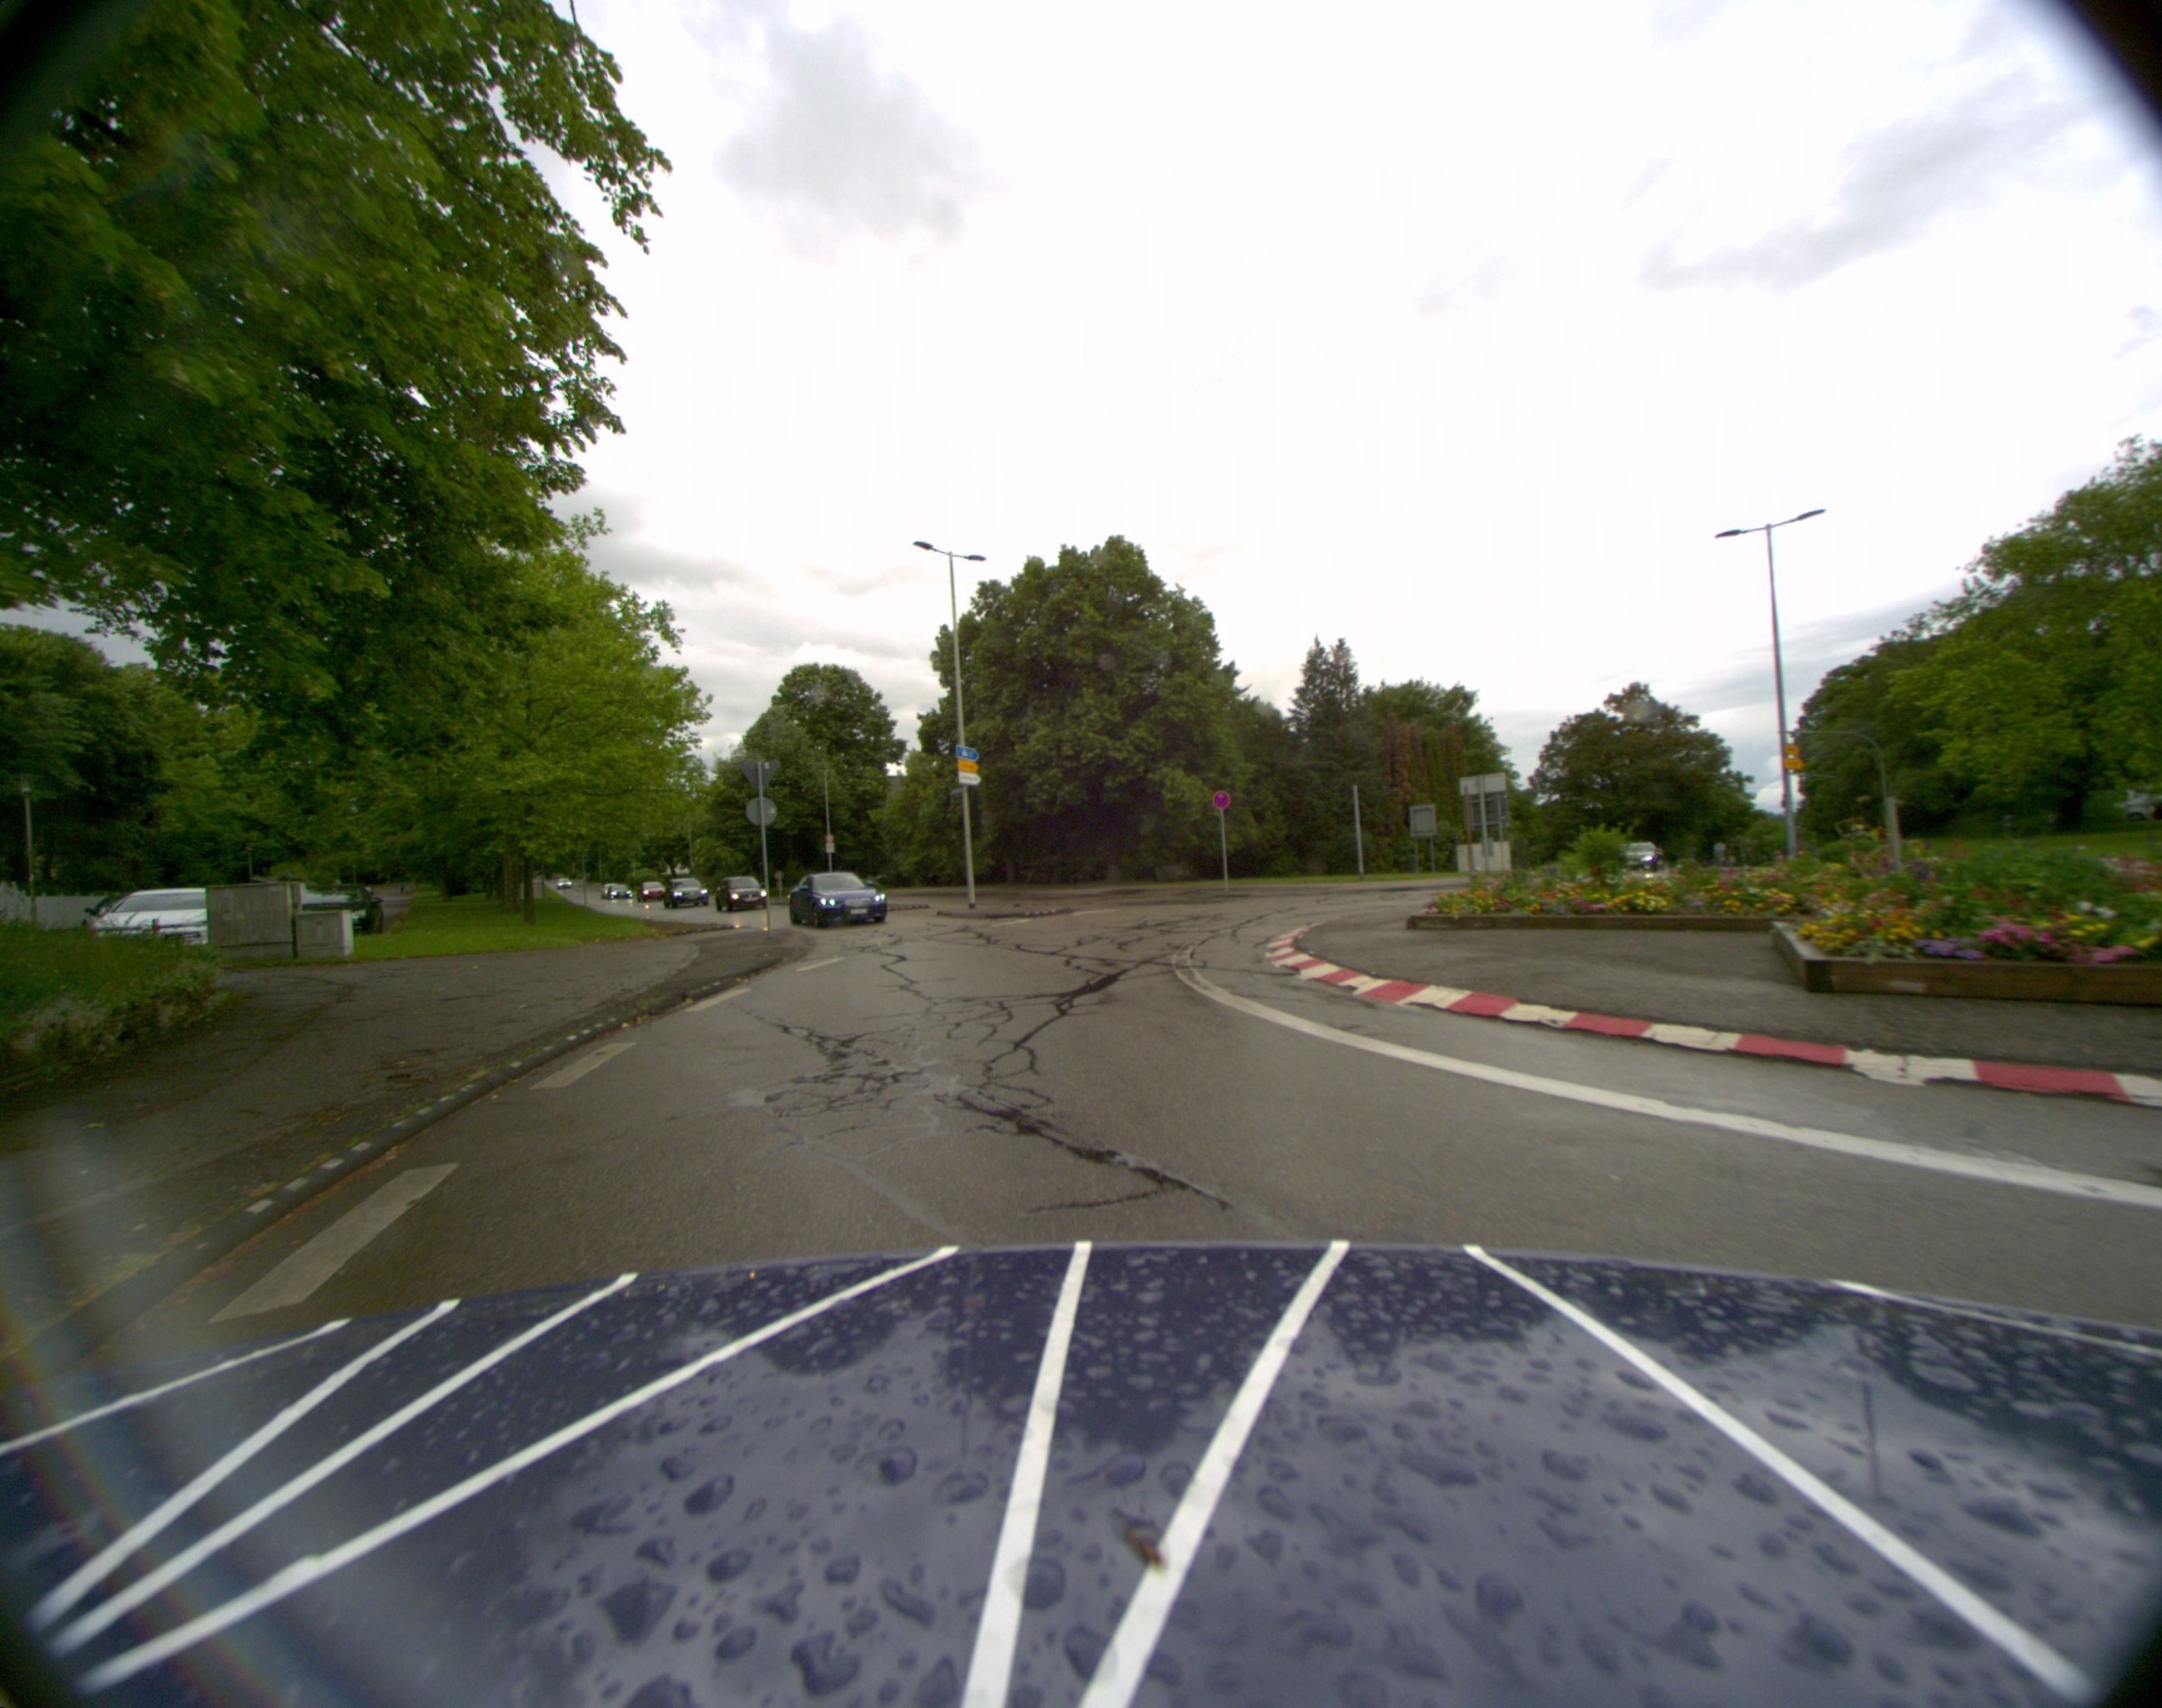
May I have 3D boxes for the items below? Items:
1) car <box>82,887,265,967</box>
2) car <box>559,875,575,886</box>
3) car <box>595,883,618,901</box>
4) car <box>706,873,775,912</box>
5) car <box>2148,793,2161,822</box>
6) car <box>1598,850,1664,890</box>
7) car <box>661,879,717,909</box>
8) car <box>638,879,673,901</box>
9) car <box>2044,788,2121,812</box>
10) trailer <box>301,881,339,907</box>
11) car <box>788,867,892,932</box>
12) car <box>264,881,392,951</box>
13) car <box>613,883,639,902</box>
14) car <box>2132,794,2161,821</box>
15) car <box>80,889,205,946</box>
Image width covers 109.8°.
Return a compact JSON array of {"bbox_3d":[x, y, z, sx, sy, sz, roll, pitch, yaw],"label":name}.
[{"bbox_3d":[-20.668,1.562,17.535,1.855,1.462,4.414,-2,0,-39],"label":"car"},{"bbox_3d":[-83.114,4.272,122.877,1.830,1.471,4.057,-5,2,-33],"label":"car"},{"bbox_3d":[-48.755,3.883,78.113,1.829,1.471,4.058,-5,2,-30],"label":"car"},{"bbox_3d":[-15.346,1.678,34.141,1.830,1.471,4.057,-5,2,-38],"label":"car"},{"bbox_3d":[65.239,-2.823,44.190,1.808,1.585,3.626,-5,2,-38],"label":"car"},{"bbox_3d":[24.143,0.675,33.278,1.710,1.412,4.007,-2,2,45],"label":"car"},{"bbox_3d":[-22.449,2.231,43.458,2.036,1.471,4.057,-5,2,-38],"label":"car"},{"bbox_3d":[-33.061,2.795,59.005,1.830,1.471,4.057,-5,2,-35],"label":"car"},{"bbox_3d":[79.051,-4.255,60.040,1.808,1.585,3.626,-5,2,-38],"label":"car"},{"bbox_3d":[-67.672,3.523,67.635,1.775,2.105,5.179,-6,2,-40],"label":"trailer"},{"bbox_3d":[-6.856,1.187,21.365,1.829,1.471,4.058,-5,2,-30],"label":"car"},{"bbox_3d":[-18.862,1.470,19.237,1.773,1.462,4.586,-1,-1,-38],"label":"car"},{"bbox_3d":[-43.572,3.661,72.859,1.829,1.471,4.058,-5,2,-28],"label":"car"},{"bbox_3d":[71.016,-3.089,49.071,1.808,1.585,3.626,-5,2,-38],"label":"car"},{"bbox_3d":[-31.549,2.074,25.691,1.768,1.463,4.345,-9,5,-41],"label":"car"}]
